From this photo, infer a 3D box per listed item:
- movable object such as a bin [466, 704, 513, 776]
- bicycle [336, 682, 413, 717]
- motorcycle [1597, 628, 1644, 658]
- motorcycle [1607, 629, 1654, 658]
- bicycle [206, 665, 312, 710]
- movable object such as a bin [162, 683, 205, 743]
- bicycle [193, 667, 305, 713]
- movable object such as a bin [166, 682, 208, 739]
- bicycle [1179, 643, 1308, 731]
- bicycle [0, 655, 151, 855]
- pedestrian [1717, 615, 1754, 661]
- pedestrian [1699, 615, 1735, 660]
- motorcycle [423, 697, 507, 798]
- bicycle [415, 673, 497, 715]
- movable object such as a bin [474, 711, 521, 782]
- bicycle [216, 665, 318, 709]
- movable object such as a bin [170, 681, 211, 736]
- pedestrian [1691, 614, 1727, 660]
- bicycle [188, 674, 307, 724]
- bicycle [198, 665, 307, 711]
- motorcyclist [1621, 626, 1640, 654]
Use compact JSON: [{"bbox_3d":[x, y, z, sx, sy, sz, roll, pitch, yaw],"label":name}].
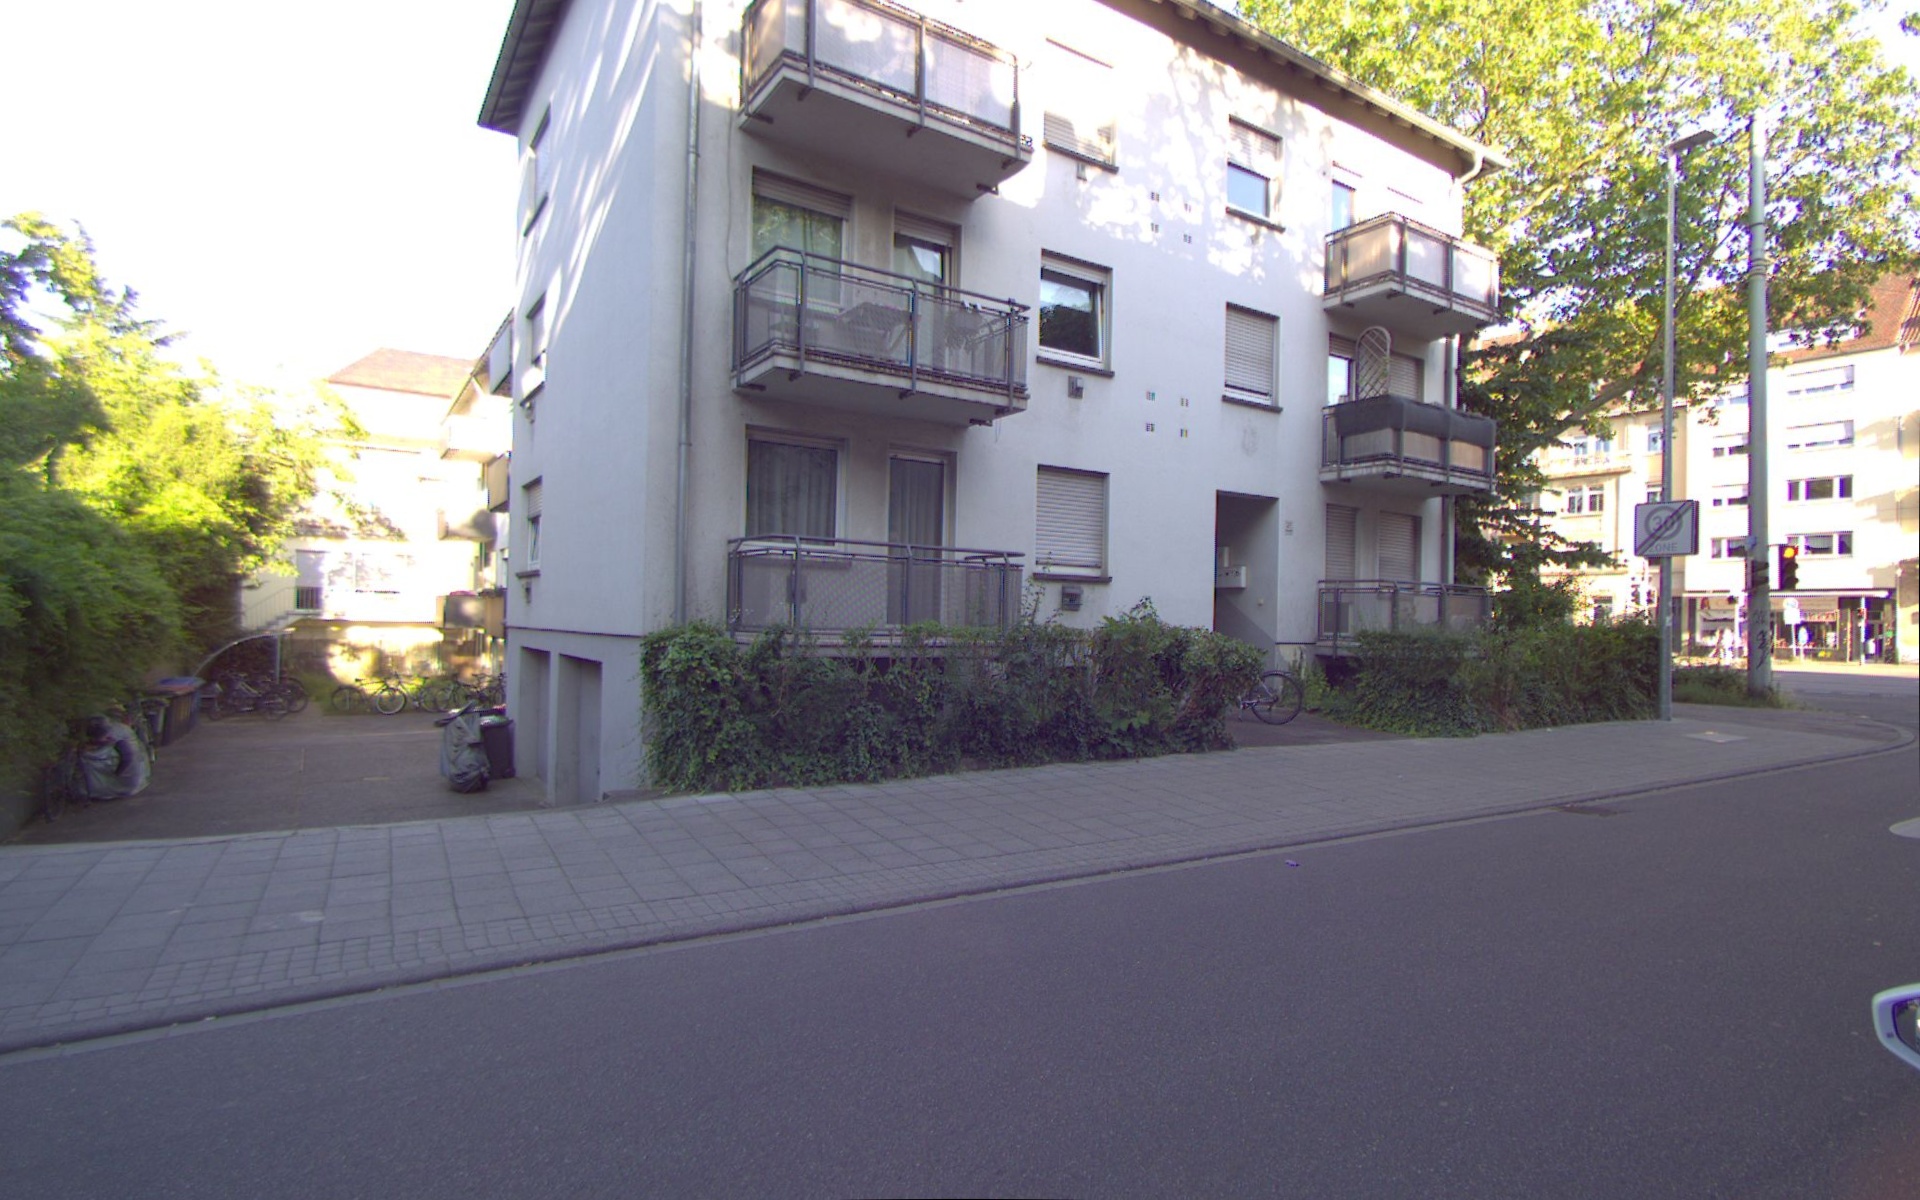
[{"bbox_3d":[-7.919,2.335,16.901,0.606,1.129,0.795,1,-3,-33],"label":"movable object such as a bin"},{"bbox_3d":[-15.569,2.633,26.744,1.734,0.890,0.561,2,-4,-30],"label":"bicycle"},{"bbox_3d":[34.540,2.233,52.556,0.562,1.471,2.021,1,-1,-33],"label":"motorcycle"},{"bbox_3d":[35.507,2.294,53.238,0.562,1.471,2.021,1,-1,-33],"label":"motorcycle"},{"bbox_3d":[-19.375,2.398,27.815,2.311,1.192,0.689,2,-4,-30],"label":"bicycle"},{"bbox_3d":[-15.491,2.233,20.052,0.606,1.129,0.795,1,-3,-33],"label":"movable object such as a bin"},{"bbox_3d":[-18.603,2.333,26.343,2.311,1.148,0.689,2,-4,-30],"label":"bicycle"},{"bbox_3d":[-15.932,2.265,20.723,0.606,1.129,0.795,1,-3,-33],"label":"movable object such as a bin"},{"bbox_3d":[3.827,1.156,13.570,1.590,1.022,0.517,3,1,20],"label":"bicycle"},{"bbox_3d":[-10.603,1.663,11.978,0.961,1.917,4.156,1,-2,-32],"label":"bicycle"},{"bbox_3d":[43.122,2.103,55.864,1.049,2.497,1.338,1,0,-34],"label":"pedestrian"},{"bbox_3d":[43.421,2.123,57.616,1.049,2.497,1.338,1,0,-34],"label":"pedestrian"},{"bbox_3d":[-7.407,2.158,15.007,0.739,1.313,1.563,2,-2,-41],"label":"motorcycle"},{"bbox_3d":[-13.915,2.581,27.744,1.982,1.085,0.561,2,-4,-30],"label":"bicycle"},{"bbox_3d":[-7.403,2.334,16.089,0.606,1.051,0.534,1,-3,-34],"label":"movable object such as a bin"},{"bbox_3d":[-19.645,2.459,28.539,2.311,1.192,0.689,2,-4,-30],"label":"bicycle"},{"bbox_3d":[-16.365,2.295,21.384,0.606,1.129,0.795,1,-3,-33],"label":"movable object such as a bin"},{"bbox_3d":[41.955,2.056,56.282,1.049,2.497,1.338,1,0,-34],"label":"pedestrian"},{"bbox_3d":[-17.339,2.390,24.524,2.268,1.148,0.689,2,-4,-30],"label":"bicycle"},{"bbox_3d":[-19.029,2.357,27.090,2.311,1.192,0.689,2,-4,-30],"label":"bicycle"},{"bbox_3d":[35.514,2.114,53.221,0.562,1.471,0.677,1,-1,-33],"label":"motorcyclist"}]
